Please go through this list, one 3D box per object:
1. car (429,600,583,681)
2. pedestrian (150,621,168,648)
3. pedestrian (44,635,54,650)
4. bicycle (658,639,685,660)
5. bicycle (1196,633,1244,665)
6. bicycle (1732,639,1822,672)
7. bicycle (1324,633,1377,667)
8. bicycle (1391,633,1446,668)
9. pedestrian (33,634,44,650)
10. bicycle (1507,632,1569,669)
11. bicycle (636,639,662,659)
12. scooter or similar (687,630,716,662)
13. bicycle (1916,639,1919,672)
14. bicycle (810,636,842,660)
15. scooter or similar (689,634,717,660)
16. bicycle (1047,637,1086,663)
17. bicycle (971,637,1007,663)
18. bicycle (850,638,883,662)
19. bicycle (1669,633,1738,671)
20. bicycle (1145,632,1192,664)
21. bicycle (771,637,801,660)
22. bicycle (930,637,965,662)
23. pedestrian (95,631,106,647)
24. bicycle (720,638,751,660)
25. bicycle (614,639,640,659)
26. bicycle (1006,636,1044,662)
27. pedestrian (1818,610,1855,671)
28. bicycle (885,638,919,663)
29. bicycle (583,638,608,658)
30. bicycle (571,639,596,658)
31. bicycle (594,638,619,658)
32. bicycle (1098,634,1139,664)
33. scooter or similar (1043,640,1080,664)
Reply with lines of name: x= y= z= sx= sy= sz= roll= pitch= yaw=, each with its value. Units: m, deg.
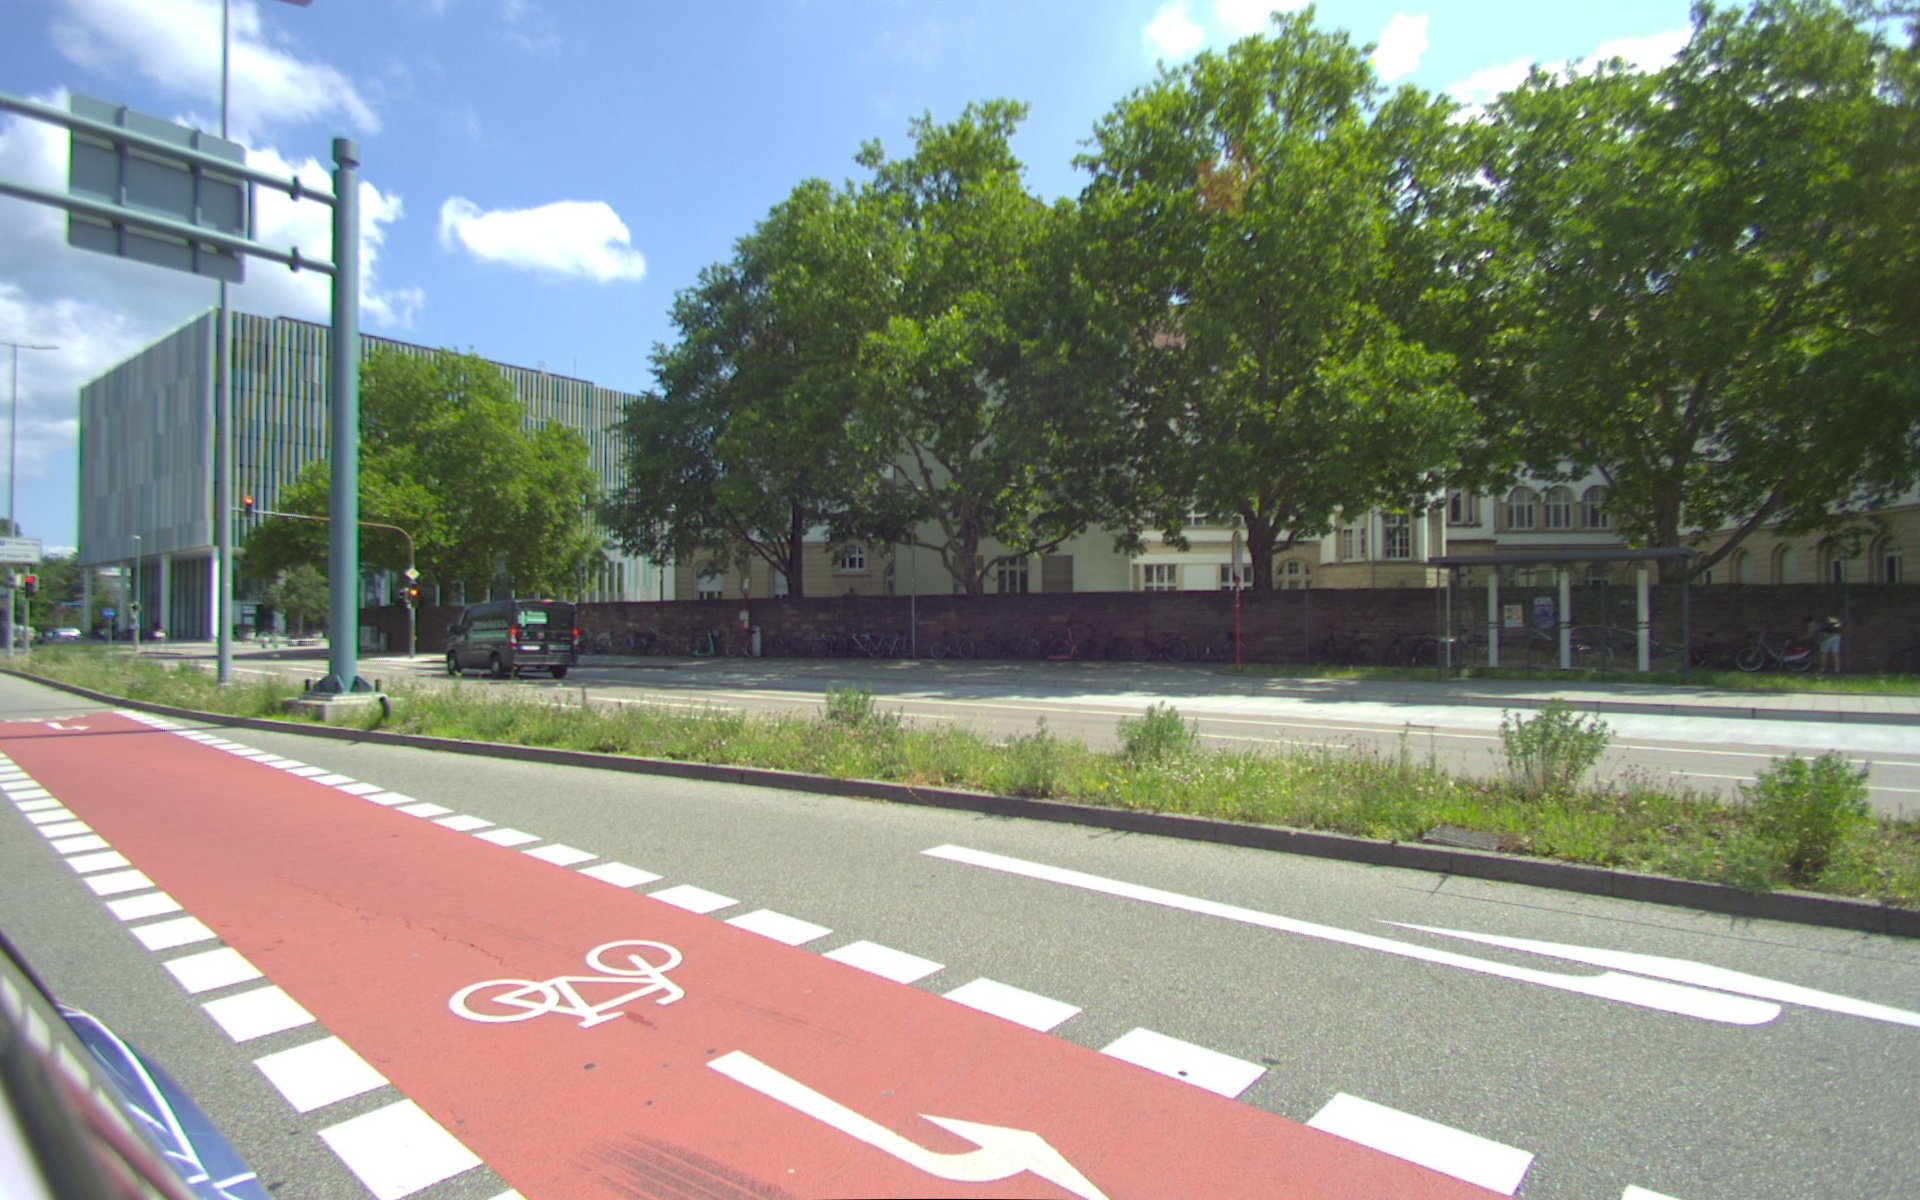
car: x=-13.440 y=1.222 z=29.842 sx=5.014 sy=2.192 sz=2.126 roll=-2 pitch=-4 yaw=40
pedestrian: x=-60.006 y=2.560 z=75.839 sx=0.994 sy=2.029 sz=0.853 roll=-2 pitch=-2 yaw=39
pedestrian: x=-88.816 y=4.165 z=98.654 sx=0.686 sy=1.464 sz=0.689 roll=1 pitch=-3 yaw=-45
bicycle: x=-11.567 y=1.971 z=40.578 sx=1.231 sy=0.837 sz=0.262 roll=-2 pitch=-2 yaw=30
bicycle: x=7.808 y=1.470 z=30.415 sx=1.389 sy=0.972 sz=0.262 roll=-1 pitch=-2 yaw=28
bicycle: x=20.746 y=1.404 z=25.720 sx=1.734 sy=0.823 sz=0.327 roll=-1 pitch=-2 yaw=18
bicycle: x=11.180 y=1.427 z=29.031 sx=1.384 sy=0.972 sz=0.263 roll=-1 pitch=-2 yaw=18
bicycle: x=12.865 y=1.405 z=28.418 sx=1.384 sy=0.972 sz=0.263 roll=-1 pitch=-2 yaw=18
pedestrian: x=-85.544 y=3.934 z=93.914 sx=0.686 sy=1.464 sz=0.689 roll=1 pitch=-3 yaw=-45
bicycle: x=15.632 y=1.368 z=27.387 sx=1.384 sy=0.972 sz=0.263 roll=-1 pitch=-2 yaw=18
bicycle: x=-12.769 y=2.012 z=41.505 sx=1.231 sy=0.837 sz=0.262 roll=-2 pitch=-2 yaw=30
scooter or similar: x=-9.935 y=1.763 z=38.878 sx=1.230 sy=1.199 sz=0.262 roll=-1 pitch=-2 yaw=29
bicycle: x=24.442 y=1.355 z=24.602 sx=1.734 sy=0.823 sz=0.382 roll=-1 pitch=-2 yaw=18
bicycle: x=-4.889 y=1.744 z=36.855 sx=1.231 sy=0.837 sz=0.262 roll=-1 pitch=-2 yaw=30
scooter or similar: x=-10.143 y=1.855 z=39.917 sx=1.133 sy=1.028 sz=0.264 roll=-1 pitch=-2 yaw=19
bicycle: x=3.410 y=1.595 z=32.456 sx=1.230 sy=0.837 sz=0.262 roll=-1 pitch=-2 yaw=28
bicycle: x=0.961 y=1.664 z=33.717 sx=1.230 sy=0.837 sz=0.262 roll=-1 pitch=-2 yaw=28
bicycle: x=-3.329 y=1.756 z=35.895 sx=1.231 sy=0.837 sz=0.262 roll=-1 pitch=-2 yaw=30
bicycle: x=19.234 y=1.345 z=26.194 sx=1.384 sy=0.972 sz=0.263 roll=-1 pitch=-2 yaw=18
bicycle: x=6.386 y=1.476 z=30.991 sx=1.385 sy=0.972 sz=0.263 roll=-1 pitch=-2 yaw=20
bicycle: x=-6.469 y=1.813 z=37.564 sx=1.231 sy=0.837 sz=0.262 roll=-1 pitch=-2 yaw=30
bicycle: x=-0.431 y=1.675 z=34.276 sx=1.230 sy=0.837 sz=0.262 roll=-1 pitch=-2 yaw=28
pedestrian: x=-76.456 y=3.464 z=90.058 sx=0.686 sy=1.464 sz=0.689 roll=1 pitch=-2 yaw=-44
bicycle: x=-8.645 y=1.889 z=38.947 sx=1.226 sy=0.837 sz=0.263 roll=-1 pitch=-2 yaw=19
bicycle: x=-13.878 y=2.031 z=42.191 sx=1.231 sy=0.837 sz=0.262 roll=-2 pitch=-2 yaw=30
bicycle: x=2.133 y=1.612 z=33.067 sx=1.230 sy=0.837 sz=0.262 roll=-1 pitch=-2 yaw=28
pedestrian: x=21.460 y=0.990 z=24.790 sx=0.633 sy=1.484 sz=0.504 roll=-2 pitch=-2 yaw=39
bicycle: x=-2.014 y=1.753 z=35.114 sx=1.231 sy=0.837 sz=0.262 roll=-1 pitch=-2 yaw=30
bicycle: x=-15.330 y=2.009 z=42.553 sx=1.230 sy=0.837 sz=0.262 roll=-1 pitch=-2 yaw=29
bicycle: x=-16.266 y=2.087 z=43.723 sx=1.231 sy=0.837 sz=0.262 roll=-2 pitch=-2 yaw=30
bicycle: x=-14.983 y=2.021 z=42.878 sx=1.231 sy=0.837 sz=0.262 roll=-2 pitch=-2 yaw=30
bicycle: x=4.953 y=1.524 z=31.608 sx=1.230 sy=0.915 sz=0.262 roll=-1 pitch=-2 yaw=28
scooter or similar: x=3.179 y=1.630 z=31.806 sx=1.133 sy=0.734 sz=0.264 roll=-1 pitch=-2 yaw=18
